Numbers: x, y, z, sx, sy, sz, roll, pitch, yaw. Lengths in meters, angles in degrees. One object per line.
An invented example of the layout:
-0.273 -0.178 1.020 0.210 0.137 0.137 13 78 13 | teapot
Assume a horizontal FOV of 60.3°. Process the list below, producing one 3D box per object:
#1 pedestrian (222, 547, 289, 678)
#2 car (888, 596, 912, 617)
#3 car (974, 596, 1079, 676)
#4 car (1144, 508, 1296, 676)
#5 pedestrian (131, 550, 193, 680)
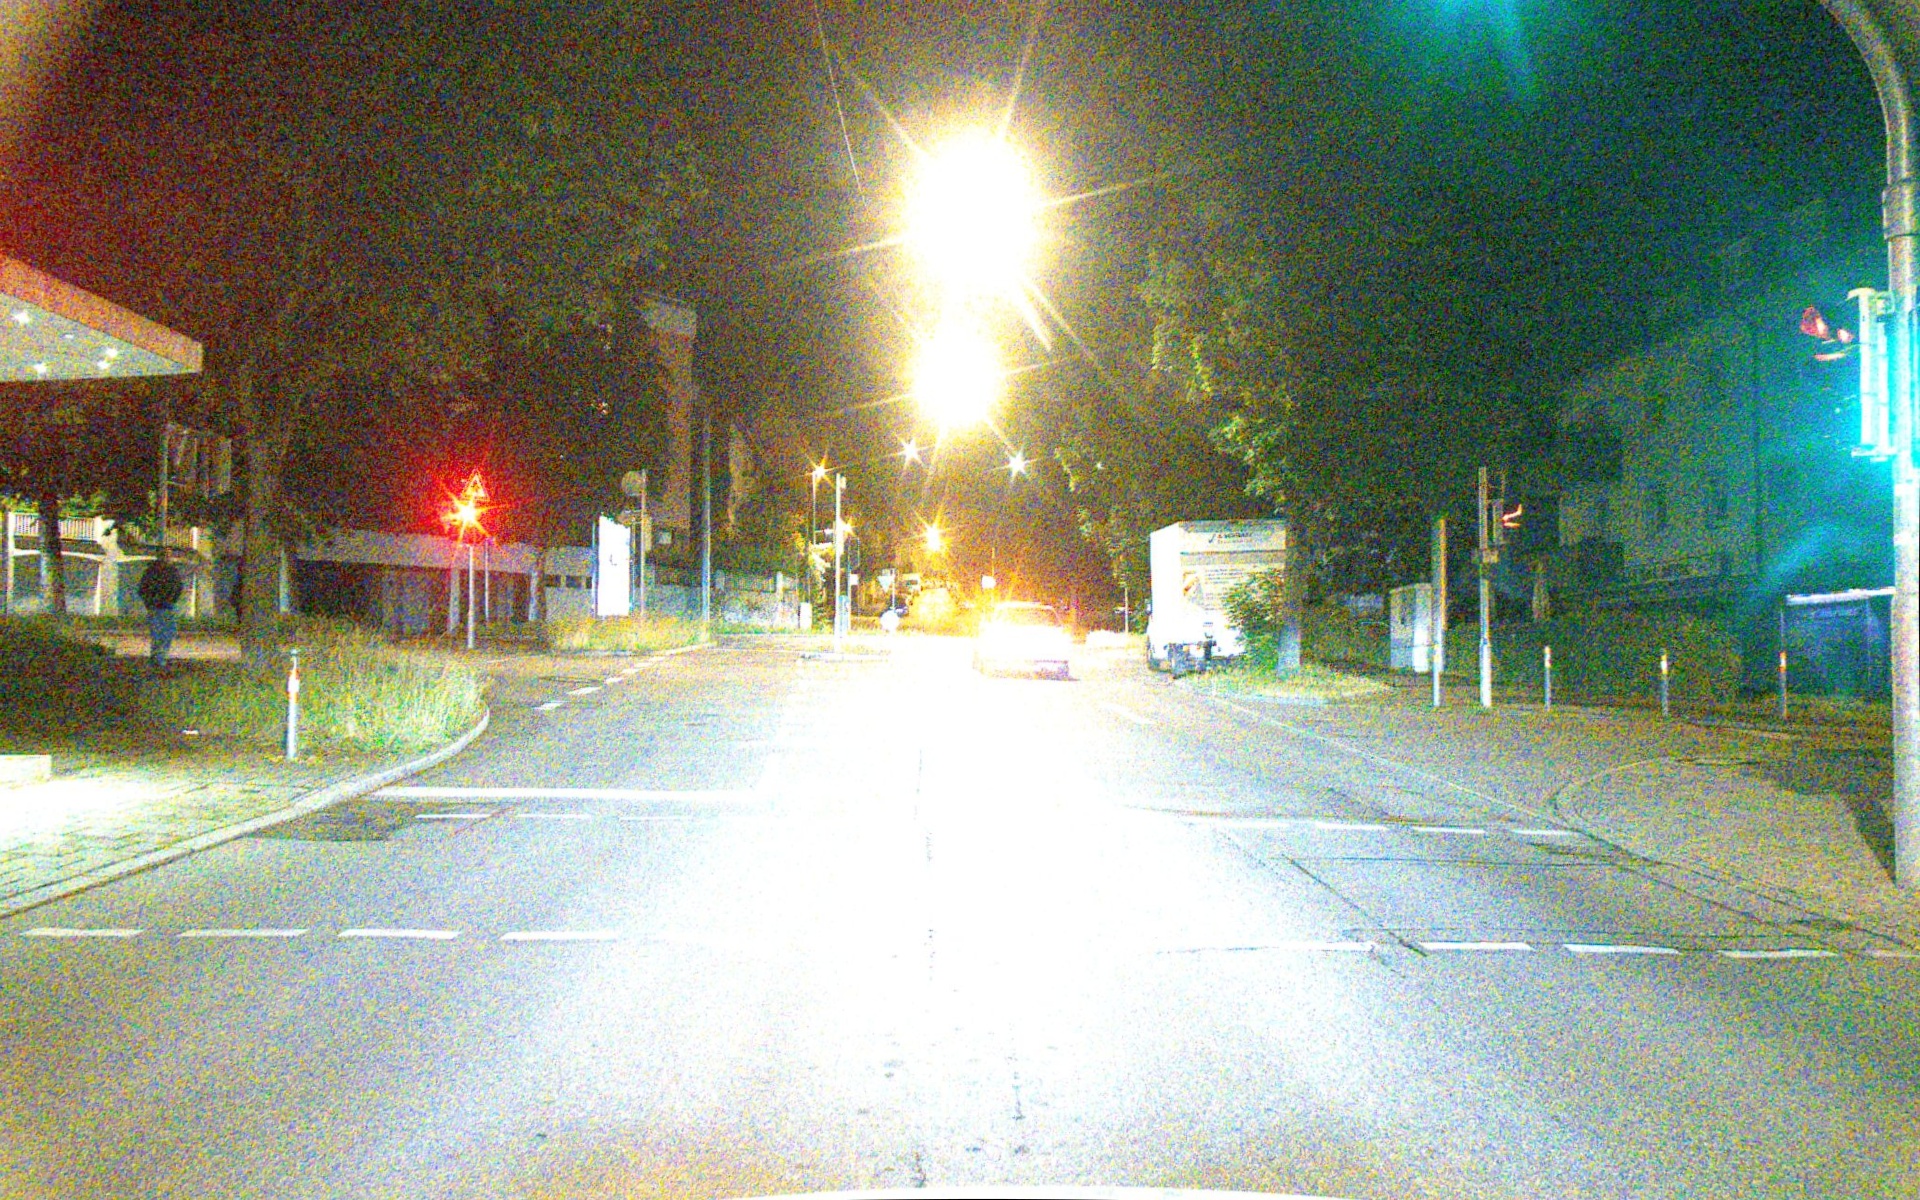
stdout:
-10.008 0.173 23.505 0.558 1.808 0.737 3 -1 -1 | pedestrian
-4.847 0.534 134.294 1.869 1.585 3.903 1 0 -1 | car
1.291 0.692 33.573 1.740 1.512 3.997 1 0 -3 | car
5.250 -0.138 34.298 2.249 3.147 5.840 -1 0 1 | car
-10.991 0.203 22.797 0.558 1.761 0.543 1 -1 -1 | pedestrian
